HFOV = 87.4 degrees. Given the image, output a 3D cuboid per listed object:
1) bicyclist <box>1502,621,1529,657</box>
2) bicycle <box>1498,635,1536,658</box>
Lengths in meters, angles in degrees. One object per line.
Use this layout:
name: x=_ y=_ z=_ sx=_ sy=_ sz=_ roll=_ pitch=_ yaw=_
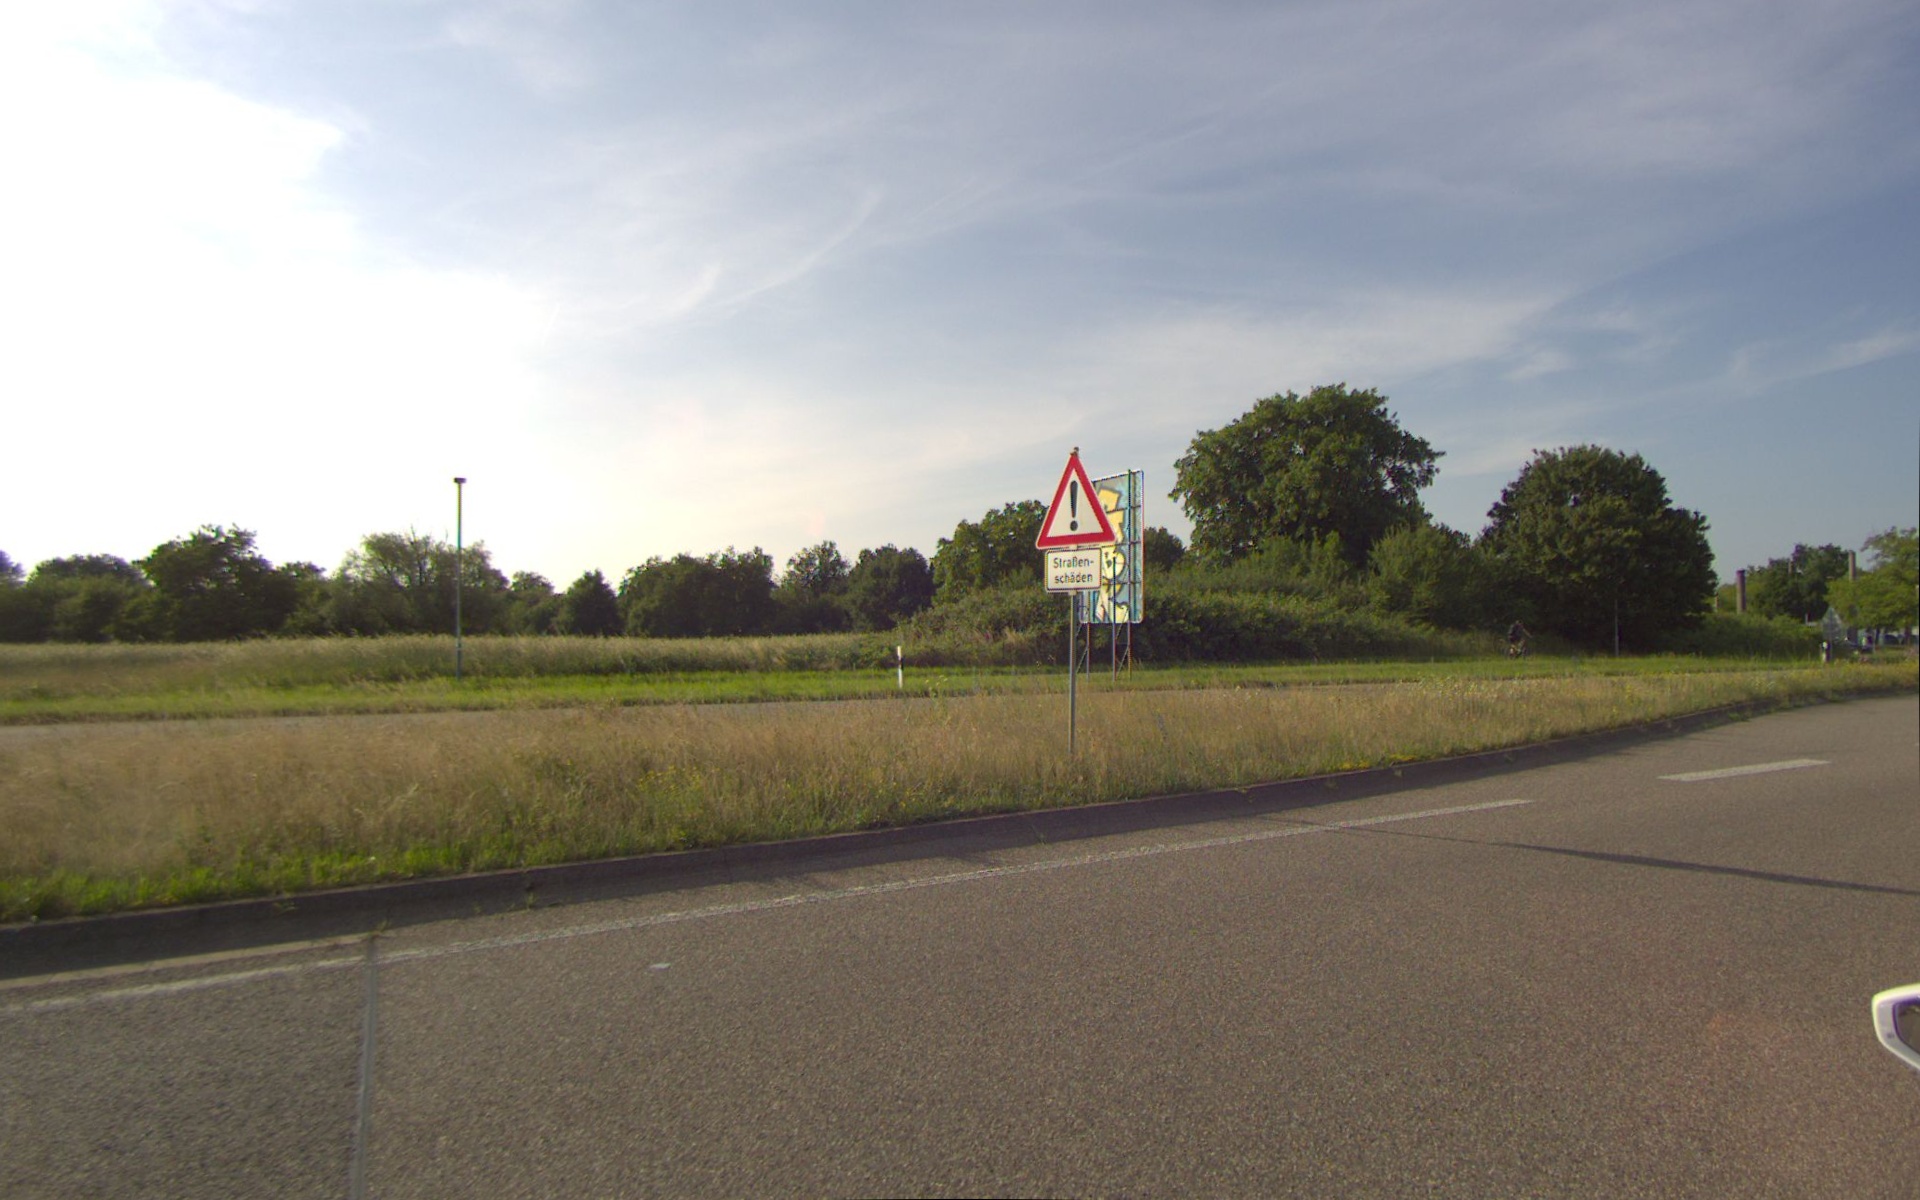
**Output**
bicyclist: x=22.144 y=1.549 z=40.015 sx=1.035 sy=1.408 sz=0.465 roll=1 pitch=-1 yaw=-29
bicycle: x=22.220 y=1.841 z=40.042 sx=1.684 sy=0.890 sz=0.527 roll=1 pitch=-1 yaw=-29
